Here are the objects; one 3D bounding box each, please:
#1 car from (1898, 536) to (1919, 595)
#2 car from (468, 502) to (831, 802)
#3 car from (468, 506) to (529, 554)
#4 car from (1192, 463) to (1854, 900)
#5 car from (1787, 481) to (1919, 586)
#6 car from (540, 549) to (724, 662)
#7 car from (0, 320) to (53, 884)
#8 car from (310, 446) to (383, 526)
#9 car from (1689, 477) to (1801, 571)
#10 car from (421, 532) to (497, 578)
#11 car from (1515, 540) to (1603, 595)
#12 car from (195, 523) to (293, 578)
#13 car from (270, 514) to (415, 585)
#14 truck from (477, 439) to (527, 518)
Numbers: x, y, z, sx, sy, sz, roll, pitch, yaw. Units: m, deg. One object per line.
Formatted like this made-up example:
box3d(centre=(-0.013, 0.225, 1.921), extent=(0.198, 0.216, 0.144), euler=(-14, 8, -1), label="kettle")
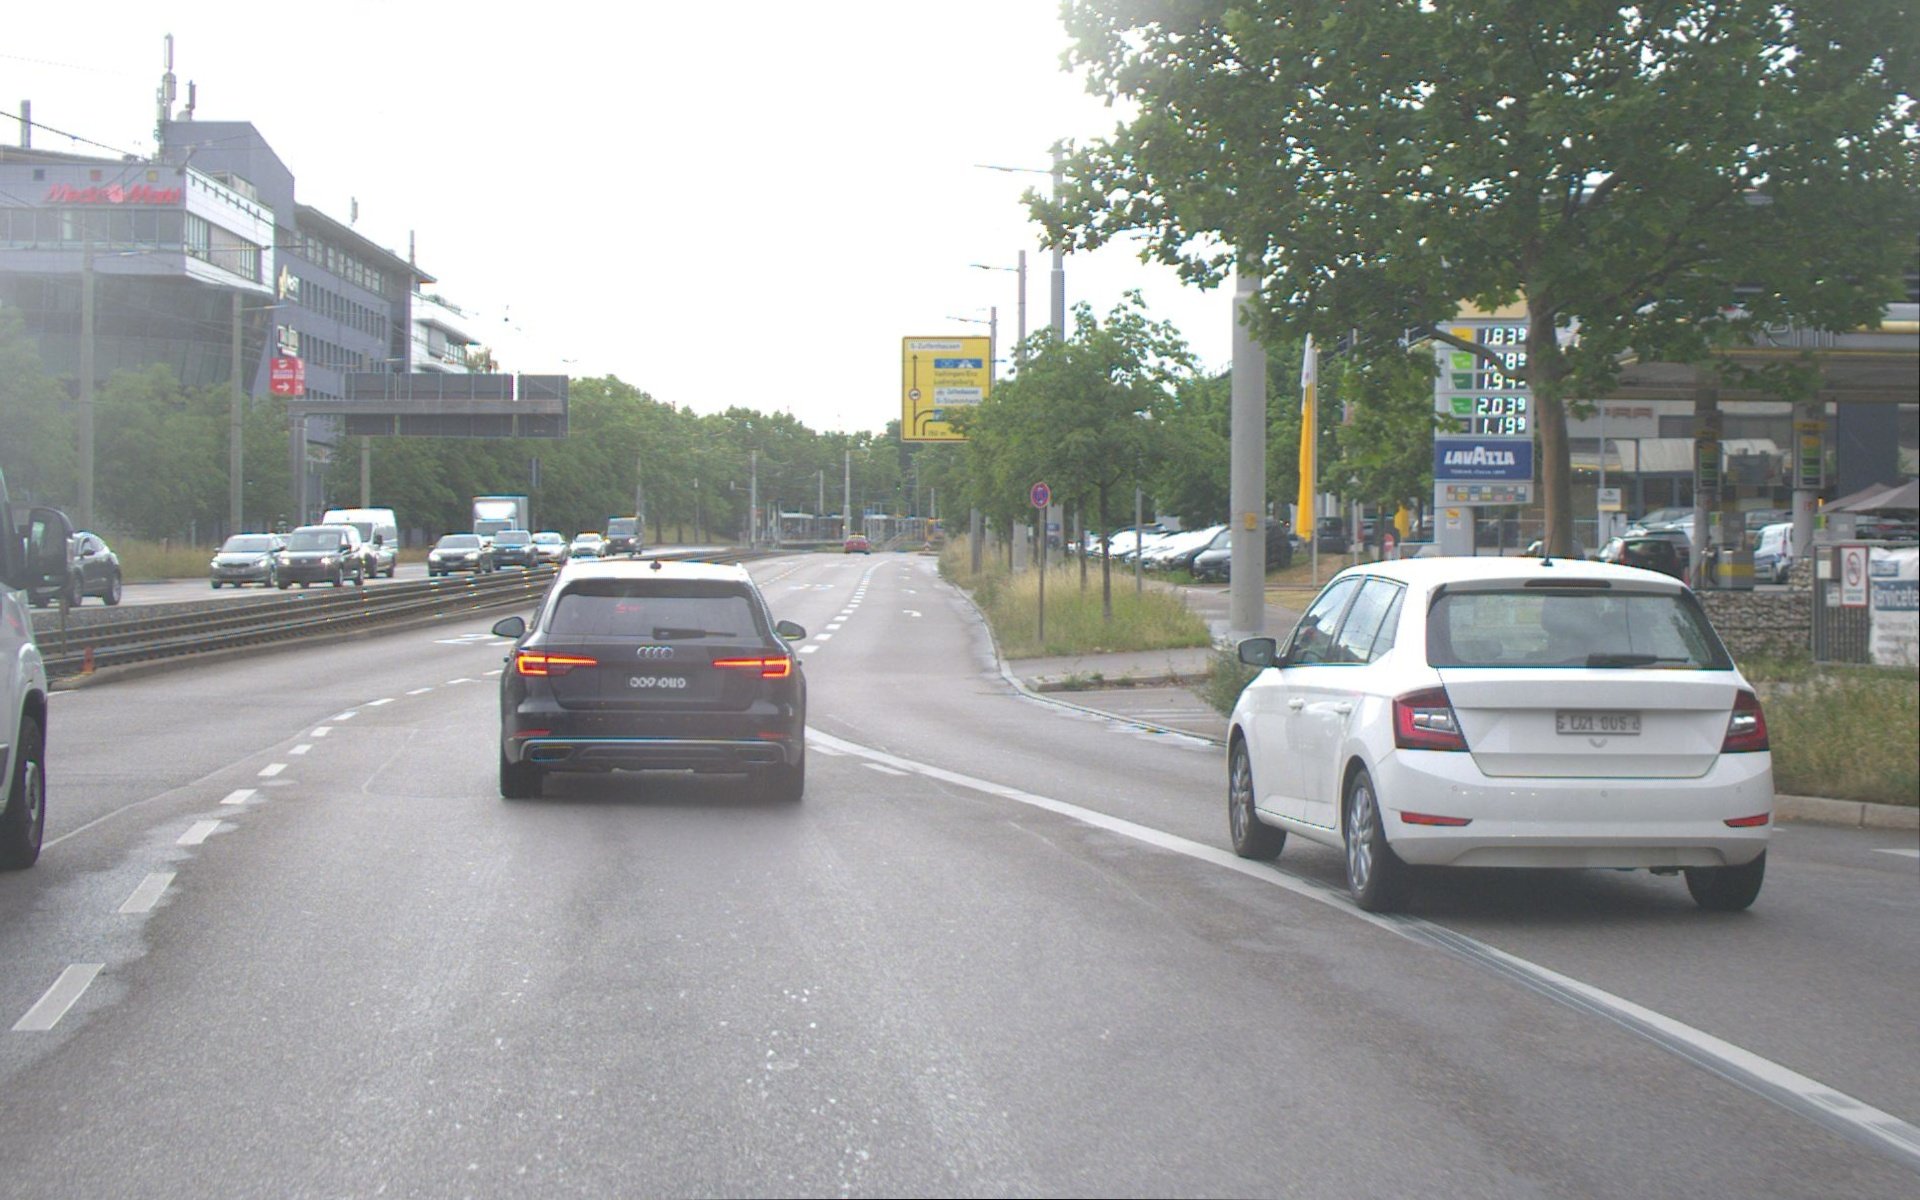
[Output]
box3d(centre=(26.790, -0.915, 92.402), extent=(1.993, 1.590, 4.000), euler=(0, 1, -1), label="car")
box3d(centre=(-2.013, 0.238, 21.188), extent=(1.993, 1.631, 4.001), euler=(0, 2, -8), label="car")
box3d(centre=(-19.174, -2.911, 143.046), extent=(2.158, 1.879, 4.302), euler=(3, 1, -4), label="car")
box3d(centre=(2.323, 0.291, 15.289), extent=(1.828, 1.650, 4.001), euler=(1, 1, -7), label="car")
box3d(centre=(18.043, -1.340, 68.856), extent=(1.993, 2.025, 4.000), euler=(0, 1, 0), label="car")
box3d(centre=(-4.455, 0.051, 47.182), extent=(1.894, 1.460, 3.909), euler=(1, 1, 4), label="car")
box3d(centre=(-4.957, 0.007, 12.713), extent=(2.445, 2.286, 4.906), euler=(1, 0, -7), label="car")
box3d(centre=(-21.948, -4.072, 123.197), extent=(2.158, 2.713, 5.069), euler=(3, 1, -7), label="car")
box3d(centre=(17.802, -1.725, 78.097), extent=(1.679, 2.007, 3.542), euler=(3, 1, 1), label="car")
box3d(centre=(-18.097, -1.645, 124.326), extent=(1.800, 1.615, 4.955), euler=(0, 1, 3), label="car")
box3d(centre=(17.697, -0.969, 101.717), extent=(1.791, 1.586, 4.000), euler=(0, 1, -1), label="car")
box3d(centre=(-21.635, -1.509, 104.038), extent=(2.158, 1.500, 4.302), euler=(3, 1, -3), label="car")
box3d(centre=(-17.712, -1.433, 98.782), extent=(2.161, 1.879, 4.297), euler=(3, 1, 20), label="car")
box3d(centre=(-22.236, -5.863, 167.189), extent=(2.158, 3.633, 6.876), euler=(3, 1, -7), label="truck")
